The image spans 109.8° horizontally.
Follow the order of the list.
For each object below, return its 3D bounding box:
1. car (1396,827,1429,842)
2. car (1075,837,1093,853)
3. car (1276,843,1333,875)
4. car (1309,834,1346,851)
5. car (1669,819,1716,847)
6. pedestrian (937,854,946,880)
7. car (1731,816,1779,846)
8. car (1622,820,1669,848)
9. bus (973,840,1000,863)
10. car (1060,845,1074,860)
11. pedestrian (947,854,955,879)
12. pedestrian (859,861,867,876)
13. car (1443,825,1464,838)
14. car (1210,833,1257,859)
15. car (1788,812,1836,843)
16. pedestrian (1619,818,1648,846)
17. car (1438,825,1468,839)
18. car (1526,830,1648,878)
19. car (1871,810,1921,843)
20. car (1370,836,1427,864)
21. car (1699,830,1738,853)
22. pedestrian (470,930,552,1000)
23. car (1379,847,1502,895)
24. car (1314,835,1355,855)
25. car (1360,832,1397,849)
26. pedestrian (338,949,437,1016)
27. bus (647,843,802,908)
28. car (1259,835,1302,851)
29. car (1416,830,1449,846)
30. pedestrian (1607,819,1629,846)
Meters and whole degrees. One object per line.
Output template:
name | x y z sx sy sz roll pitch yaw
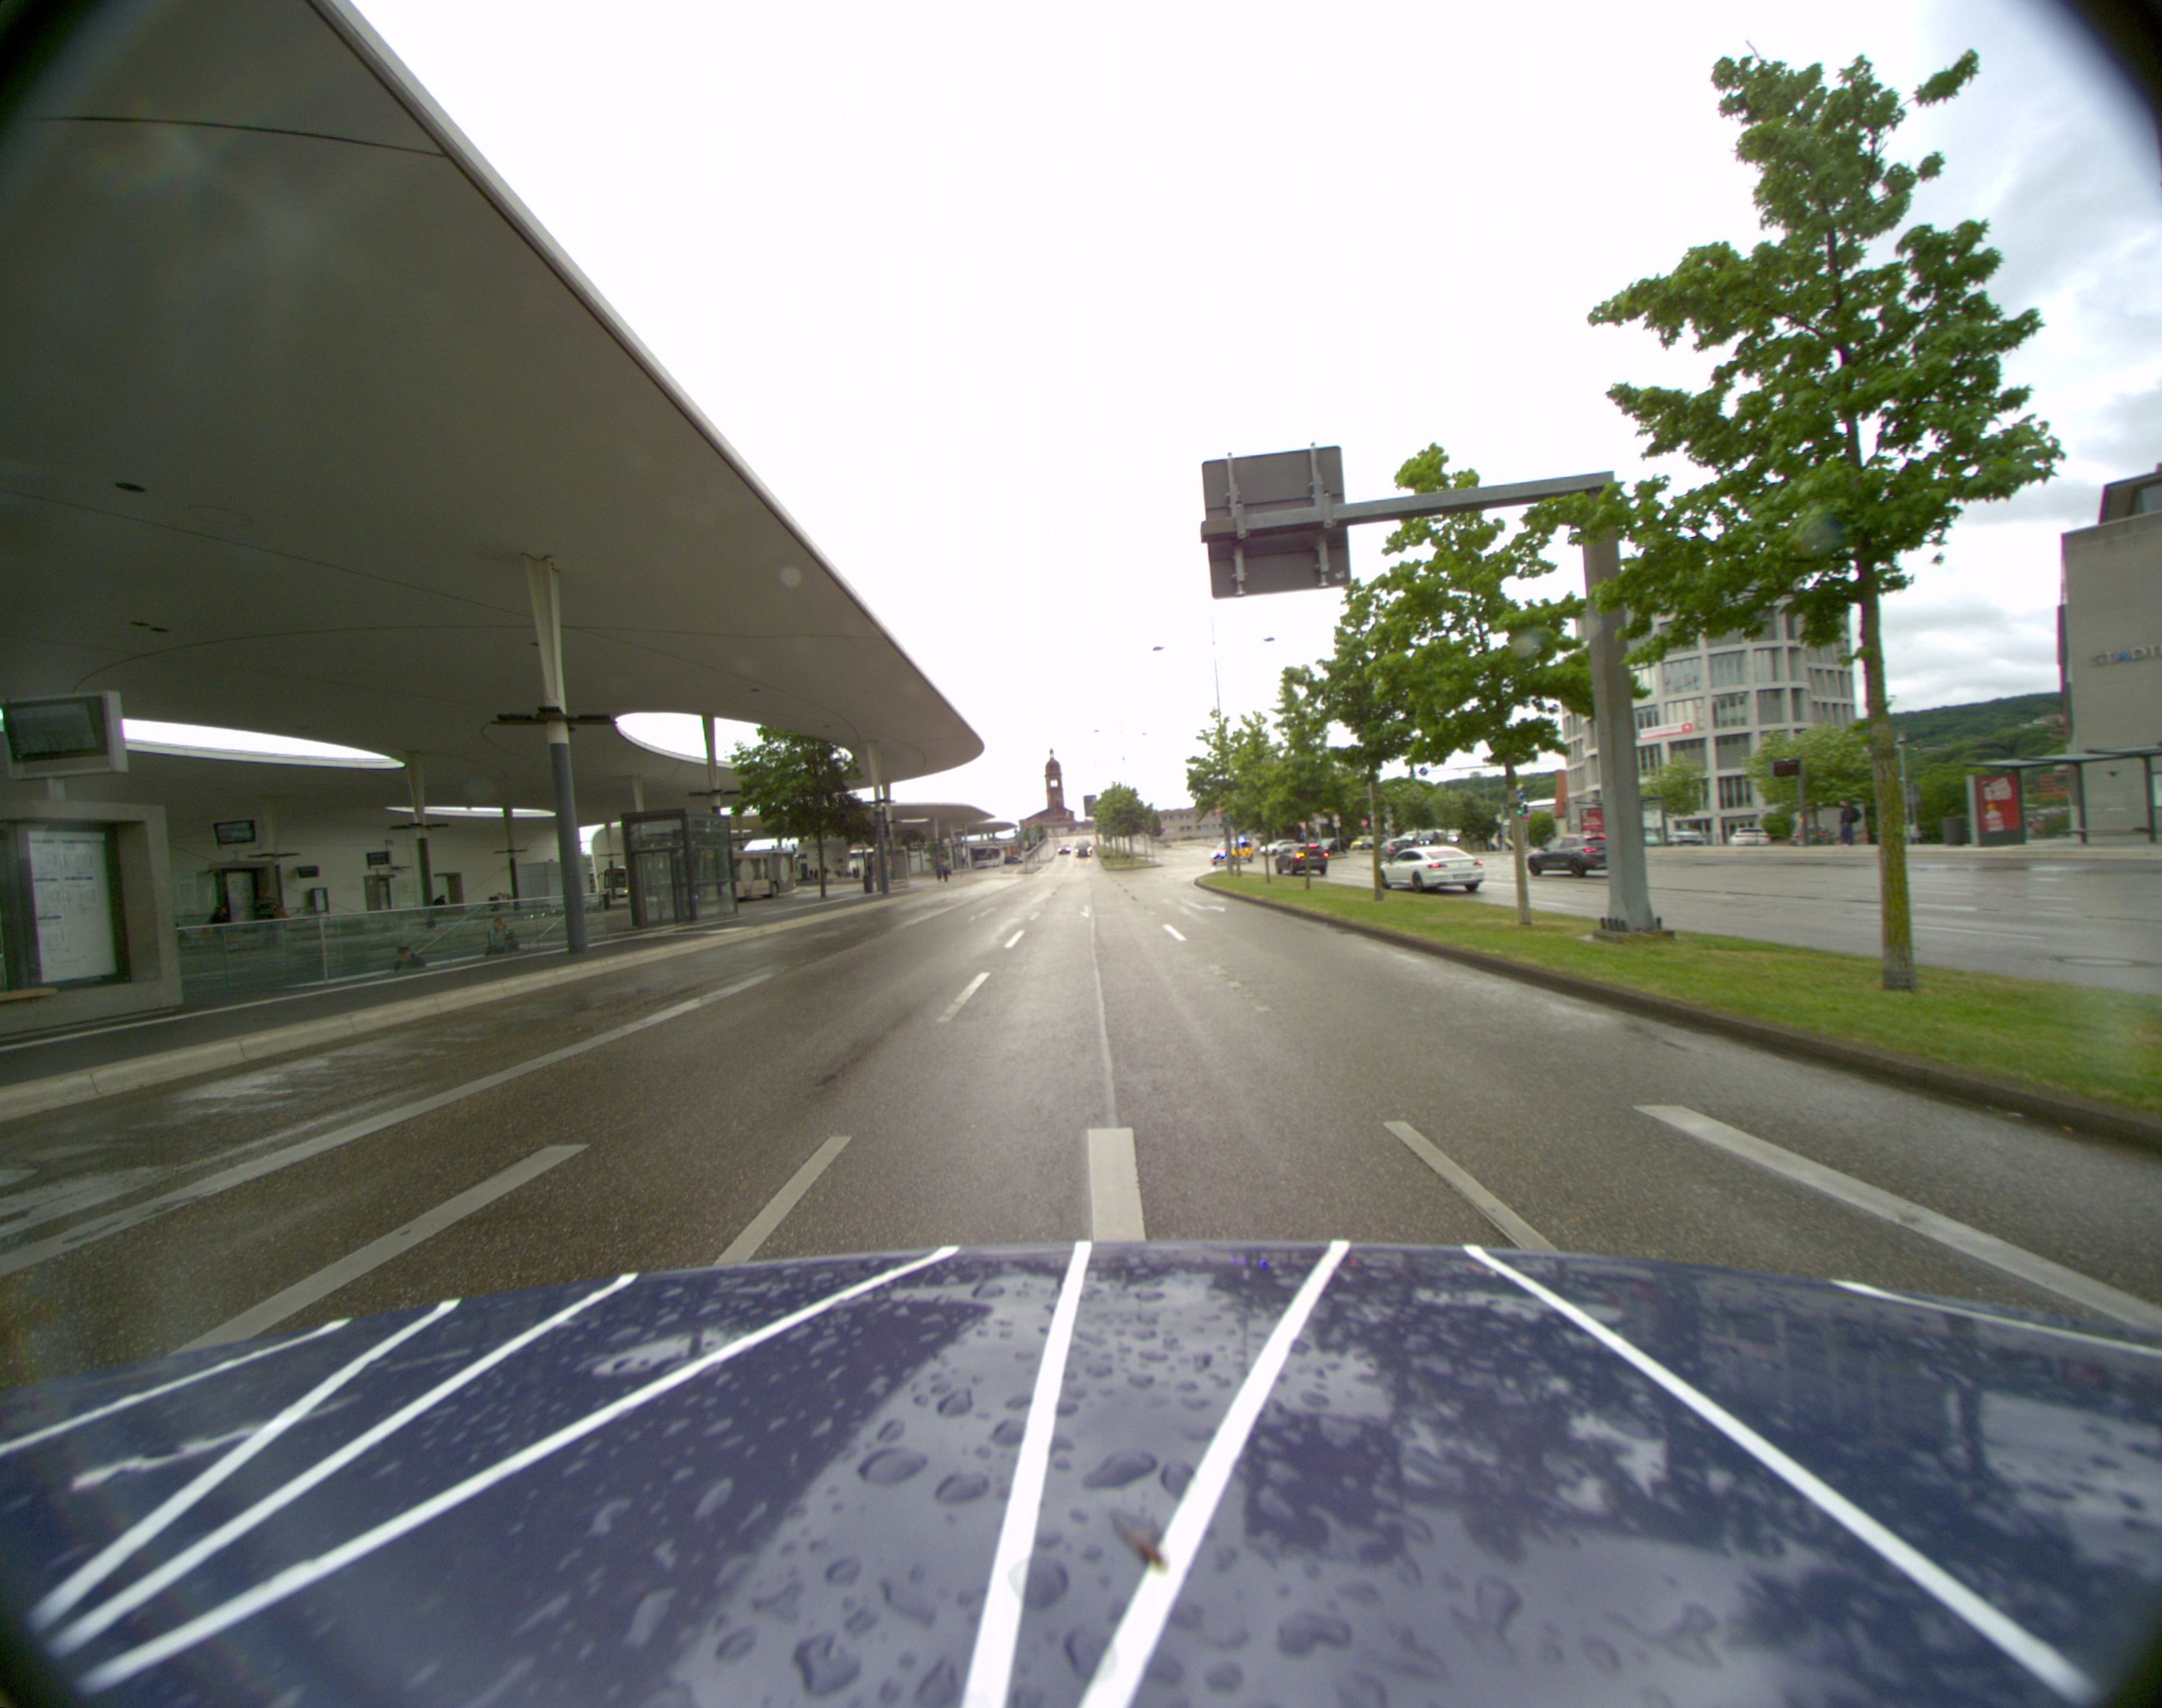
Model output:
car | 38.345 -2.284 87.942 4.309 1.625 1.872 -3 1 -42
car | 0.415 -1.229 101.420 1.999 2.002 3.998 -2 1 -5
car | 11.839 0.202 40.549 2.009 1.545 4.165 -2 1 3
car | 26.569 -1.293 81.845 4.165 1.692 1.872 -3 1 -43
car | 39.767 -1.401 49.372 4.165 1.692 1.872 -3 1 -44
pedestrian | -9.840 0.903 53.559 0.445 1.754 0.537 -3 1 -6
car | 41.908 -1.470 47.198 4.165 1.692 1.872 -3 1 -44
car | 38.086 -1.361 51.233 4.165 1.692 1.872 -3 1 -44
bus | -14.218 -0.316 113.944 3.584 3.080 10.746 -3 0 -8
car | -2.146 -0.250 113.687 1.999 2.002 3.999 -2 1 -2
pedestrian | -9.176 0.888 53.615 0.446 1.754 0.537 -3 1 -6
pedestrian | -30.622 2.081 106.822 1.025 2.002 0.879 -2 1 -13
car | 51.348 -3.091 104.784 1.872 1.624 4.165 -1 1 36
car | 12.772 -0.711 63.390 1.994 2.002 5.071 -1 1 35
car | 43.856 -1.594 45.563 4.165 1.692 1.872 -3 1 -44
pedestrian | 29.757 -1.172 40.935 0.983 1.481 0.735 -2 1 11
car | 46.526 -2.720 95.032 4.165 1.625 1.872 -3 1 -42
car | 18.130 -0.020 27.470 1.884 1.545 4.002 -2 1 4
car | 46.010 -1.559 42.955 4.165 1.692 1.872 -3 1 -44
car | 18.983 -0.253 45.610 1.884 1.545 4.002 -2 1 4
car | 49.970 -0.990 59.544 4.165 1.692 1.872 -3 1 -44
pedestrian | -11.641 2.248 15.546 0.882 1.268 0.958 -2 1 4
car | 11.425 0.476 24.506 2.010 1.345 4.164 -2 1 1
car | 23.601 -0.877 70.577 4.165 1.692 1.872 -3 1 -44
car | 30.785 -1.412 78.577 4.165 1.692 1.872 -3 1 -43
pedestrian | -12.748 2.345 14.001 0.882 1.048 0.958 -2 1 4
bus | -19.574 0.987 42.999 2.876 3.064 11.920 -2 1 1
car | 20.806 -1.143 79.245 4.054 1.550 1.809 -2 1 -23
car | 38.402 -1.783 82.973 4.165 1.625 1.872 -3 1 -43
pedestrian | 29.674 -1.182 42.013 0.732 1.481 0.734 -2 1 9
